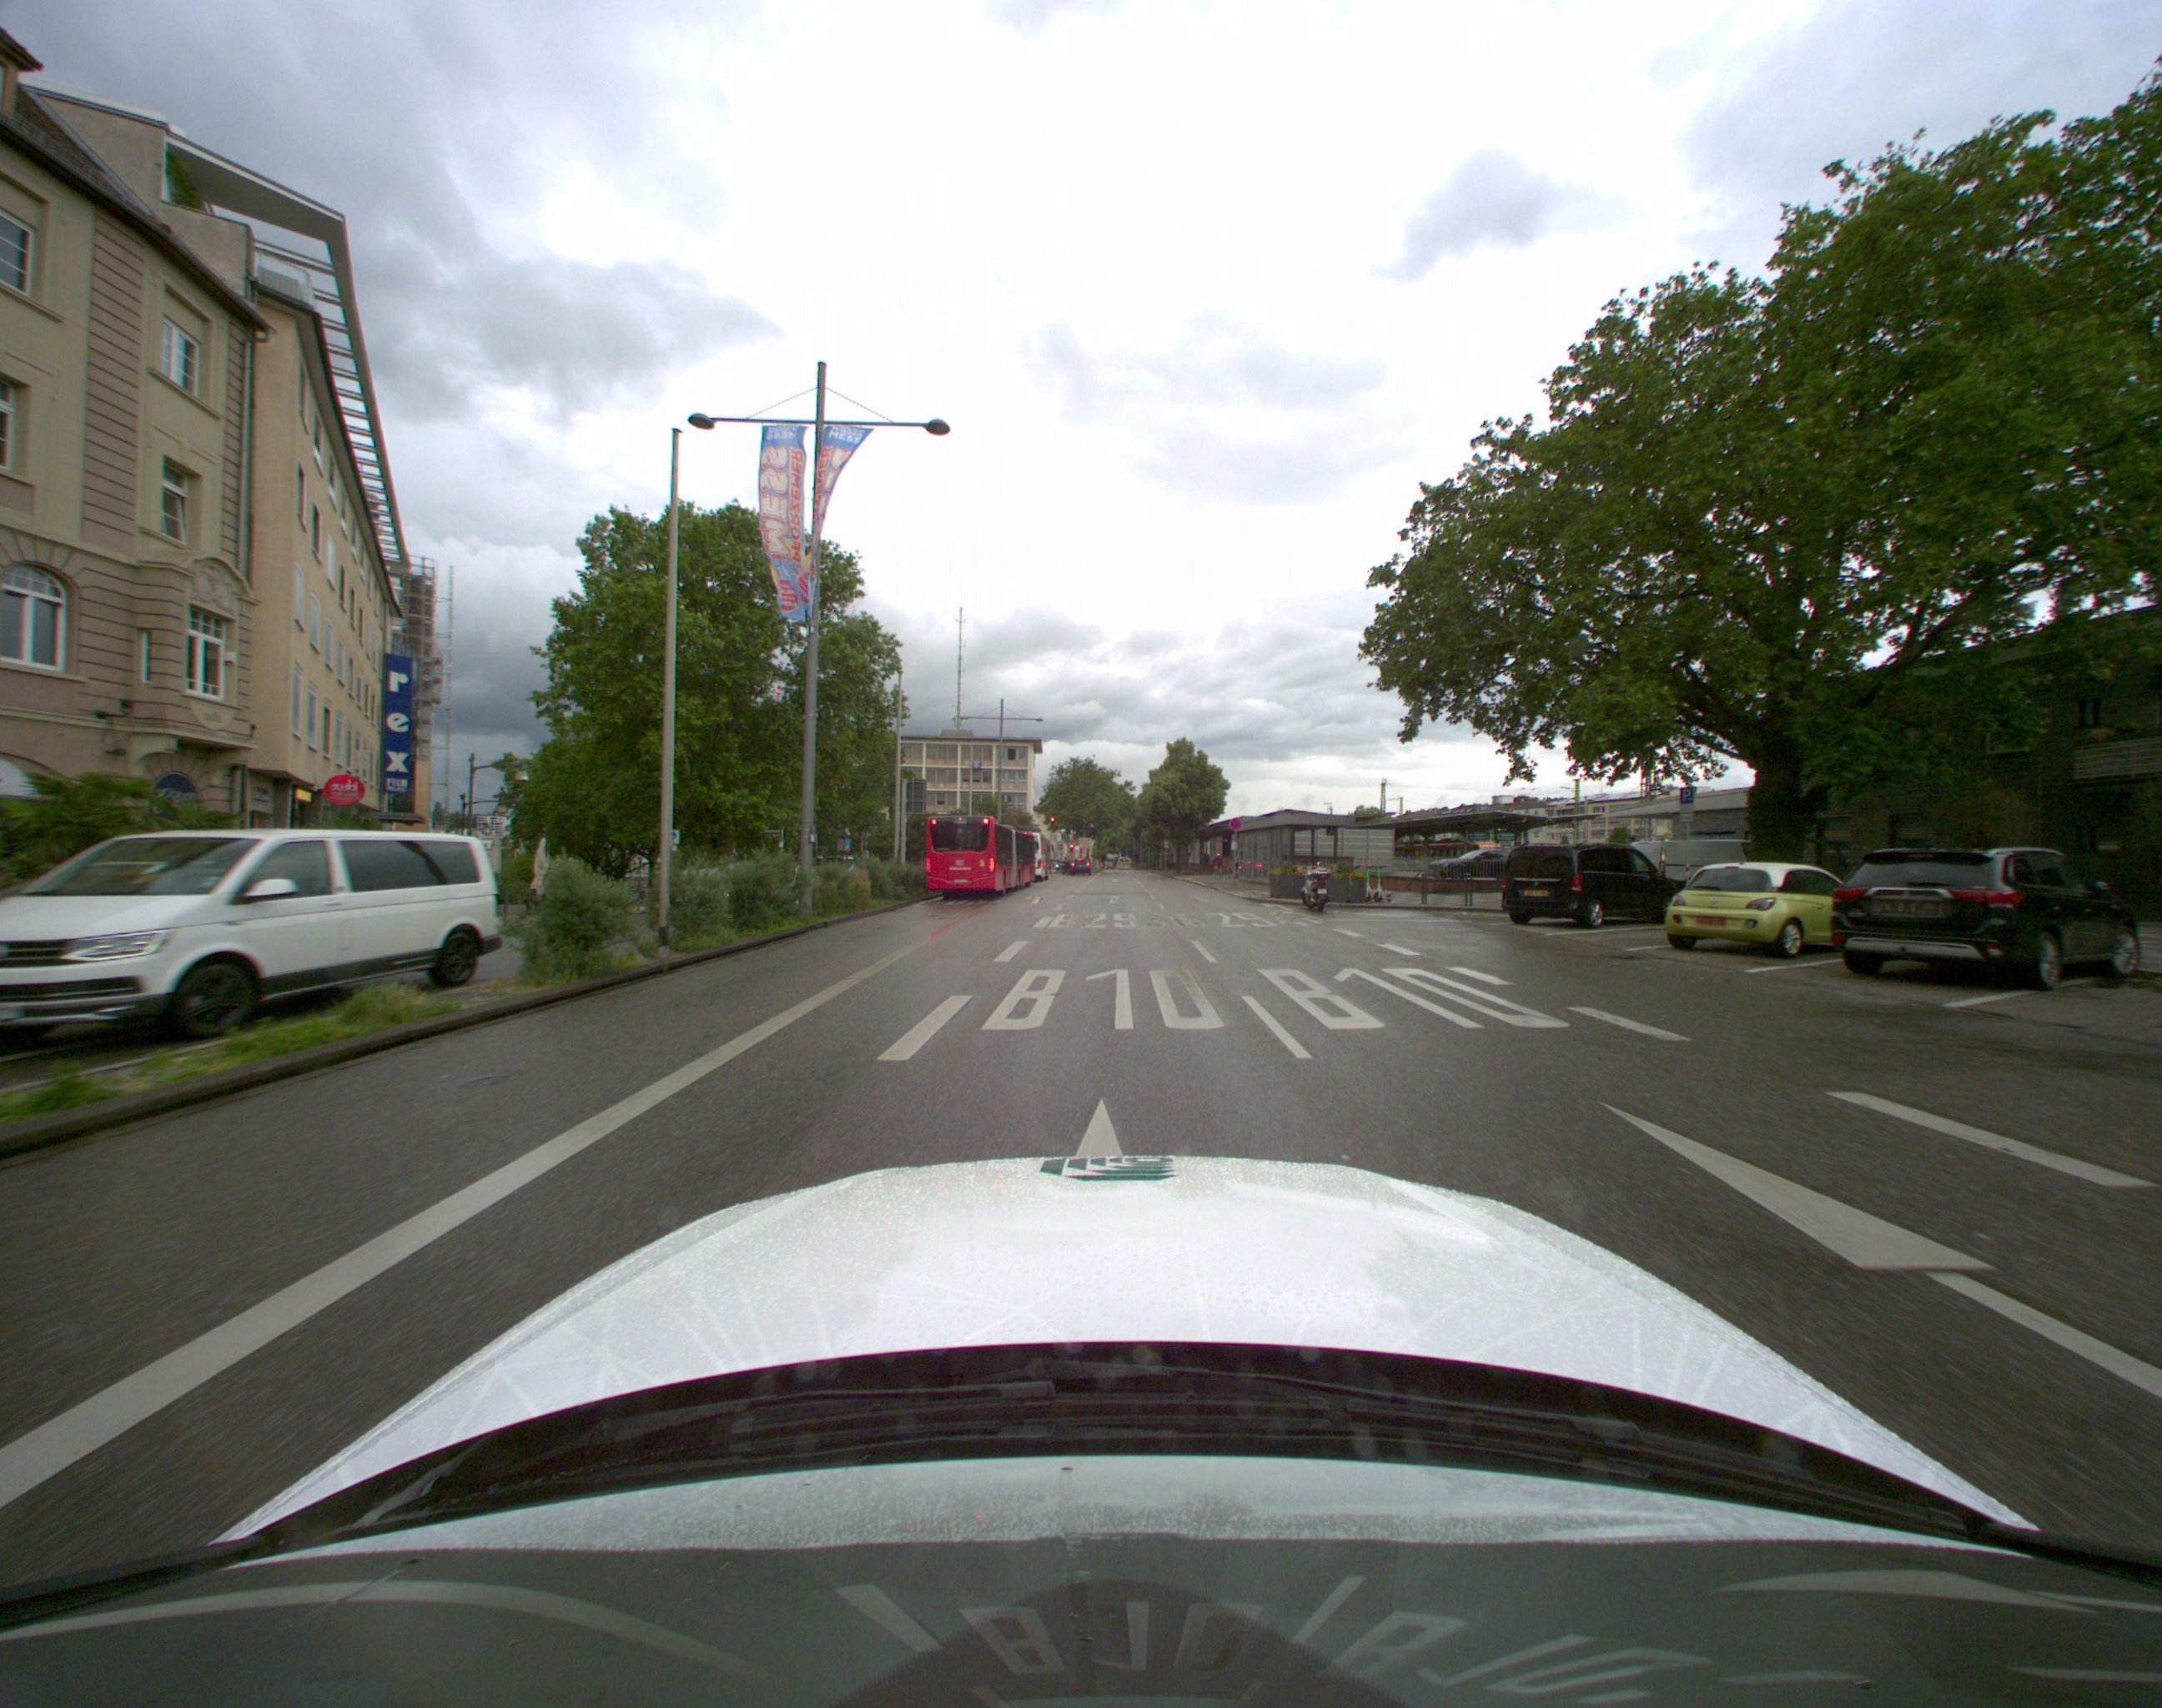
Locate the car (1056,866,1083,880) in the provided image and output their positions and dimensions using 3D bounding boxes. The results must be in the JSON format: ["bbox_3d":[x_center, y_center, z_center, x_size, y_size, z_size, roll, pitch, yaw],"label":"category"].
[{"bbox_3d":[-1.221,1.931,83.660,1.818,1.409,4.392,0,-1,-14],"label":"car"}]

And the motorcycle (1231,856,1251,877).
[{"bbox_3d":[10.626,0.800,54.148,0.789,1.348,2.456,0,0,0],"label":"motorcycle"}]

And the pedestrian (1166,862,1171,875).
[{"bbox_3d":[11.058,1.825,102.557,0.452,1.569,0.396,-2,-1,33],"label":"pedestrian"}]

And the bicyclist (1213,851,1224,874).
[{"bbox_3d":[9.355,0.580,55.459,0.532,1.538,0.694,-2,-1,-1],"label":"bicyclist"}]

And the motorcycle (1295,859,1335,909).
[{"bbox_3d":[6.672,0.830,23.321,0.640,1.352,2.110,-1,0,3],"label":"motorcycle"}]

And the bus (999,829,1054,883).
[{"bbox_3d":[-3.690,0.139,58.176,2.945,3.439,12.559,0,0,1],"label":"bus"}]

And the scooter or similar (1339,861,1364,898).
[{"bbox_3d":[8.682,0.814,26.120,0.409,1.155,1.271,2,0,33],"label":"scooter or similar"}]

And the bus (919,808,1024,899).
[{"bbox_3d":[-4.288,-0.017,34.282,2.799,3.245,9.916,-1,0,1],"label":"bus"}]

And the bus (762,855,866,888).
[{"bbox_3d":[-29.741,1.978,90.631,11.829,3.019,2.905,-4,-2,22],"label":"bus"}]

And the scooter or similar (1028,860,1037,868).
[{"bbox_3d":[-7.335,1.557,123.227,0.601,1.164,1.538,-1,-1,35],"label":"scooter or similar"}]

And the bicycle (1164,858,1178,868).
[{"bbox_3d":[11.343,1.170,102.901,1.703,1.249,0.489,-2,-1,33],"label":"bicycle"}]

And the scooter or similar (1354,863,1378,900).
[{"bbox_3d":[9.057,0.864,25.891,0.409,1.155,1.271,2,0,33],"label":"scooter or similar"}]

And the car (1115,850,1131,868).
[{"bbox_3d":[6.400,0.751,125.331,2.257,2.656,4.000,-1,0,0],"label":"car"}]

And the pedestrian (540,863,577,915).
[{"bbox_3d":[-15.945,1.062,24.857,0.690,1.529,0.725,-1,0,-11],"label":"pedestrian"}]

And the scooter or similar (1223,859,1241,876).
[{"bbox_3d":[10.437,0.941,56.339,0.494,1.153,1.705,0,-1,-18],"label":"scooter or similar"}]

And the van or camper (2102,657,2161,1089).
[{"bbox_3d":[10.469,0.091,6.204,6.548,2.869,2.259,-1,0,-29],"label":"van or camper"}]

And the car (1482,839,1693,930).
[{"bbox_3d":[11.827,0.621,18.975,4.711,1.874,2.090,-1,0,-28],"label":"car"}]

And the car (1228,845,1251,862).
[{"bbox_3d":[18.824,-0.041,96.918,1.987,1.871,4.597,0,-1,0],"label":"car"}]

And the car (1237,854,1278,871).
[{"bbox_3d":[16.417,0.775,75.864,3.539,1.542,1.750,-1,0,6],"label":"car"}]

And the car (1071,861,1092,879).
[{"bbox_3d":[0.057,1.519,76.612,1.958,1.640,4.358,-1,-1,0],"label":"car"}]

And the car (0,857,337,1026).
[{"bbox_3d":[-11.847,0.889,9.890,1.990,1.680,4.096,-1,0,-4],"label":"car"}]

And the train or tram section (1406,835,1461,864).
[{"bbox_3d":[41.530,-0.462,96.351,2.645,3.282,9.134,-1,-1,1],"label":"train or tram section"}]

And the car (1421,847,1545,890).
[{"bbox_3d":[18.283,0.640,37.198,4.673,1.874,2.107,-1,0,-3],"label":"car"}]

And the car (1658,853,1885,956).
[{"bbox_3d":[11.785,0.763,13.892,3.599,1.524,1.747,-1,0,-28],"label":"car"}]

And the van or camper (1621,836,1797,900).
[{"bbox_3d":[20.597,0.443,26.848,4.264,1.990,2.021,-1,0,0],"label":"van or camper"}]

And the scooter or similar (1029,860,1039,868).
[{"bbox_3d":[-7.064,1.556,122.465,0.601,1.192,1.538,-1,-1,35],"label":"scooter or similar"}]

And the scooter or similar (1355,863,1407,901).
[{"bbox_3d":[9.661,0.885,26.295,1.060,1.155,1.668,2,0,2],"label":"scooter or similar"}]

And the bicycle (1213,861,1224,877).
[{"bbox_3d":[9.354,1.001,55.496,0.445,1.016,1.677,-3,-1,0],"label":"bicycle"}]

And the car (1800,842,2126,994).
[{"bbox_3d":[11.593,0.689,10.676,4.246,1.634,1.867,-1,0,-28],"label":"car"}]

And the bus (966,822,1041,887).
[{"bbox_3d":[-3.958,0.027,43.637,2.741,3.132,8.848,-1,0,2],"label":"bus"}]

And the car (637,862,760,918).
[{"bbox_3d":[-12.124,1.066,26.205,1.785,1.579,4.737,-1,0,-1],"label":"car"}]

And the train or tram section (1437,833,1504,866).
[{"bbox_3d":[41.430,-0.384,87.086,2.645,3.282,9.520,-1,-1,1],"label":"train or tram section"}]

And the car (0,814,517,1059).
[{"bbox_3d":[-8.830,0.679,9.014,1.916,1.974,4.851,-1,0,-2],"label":"car"}]
